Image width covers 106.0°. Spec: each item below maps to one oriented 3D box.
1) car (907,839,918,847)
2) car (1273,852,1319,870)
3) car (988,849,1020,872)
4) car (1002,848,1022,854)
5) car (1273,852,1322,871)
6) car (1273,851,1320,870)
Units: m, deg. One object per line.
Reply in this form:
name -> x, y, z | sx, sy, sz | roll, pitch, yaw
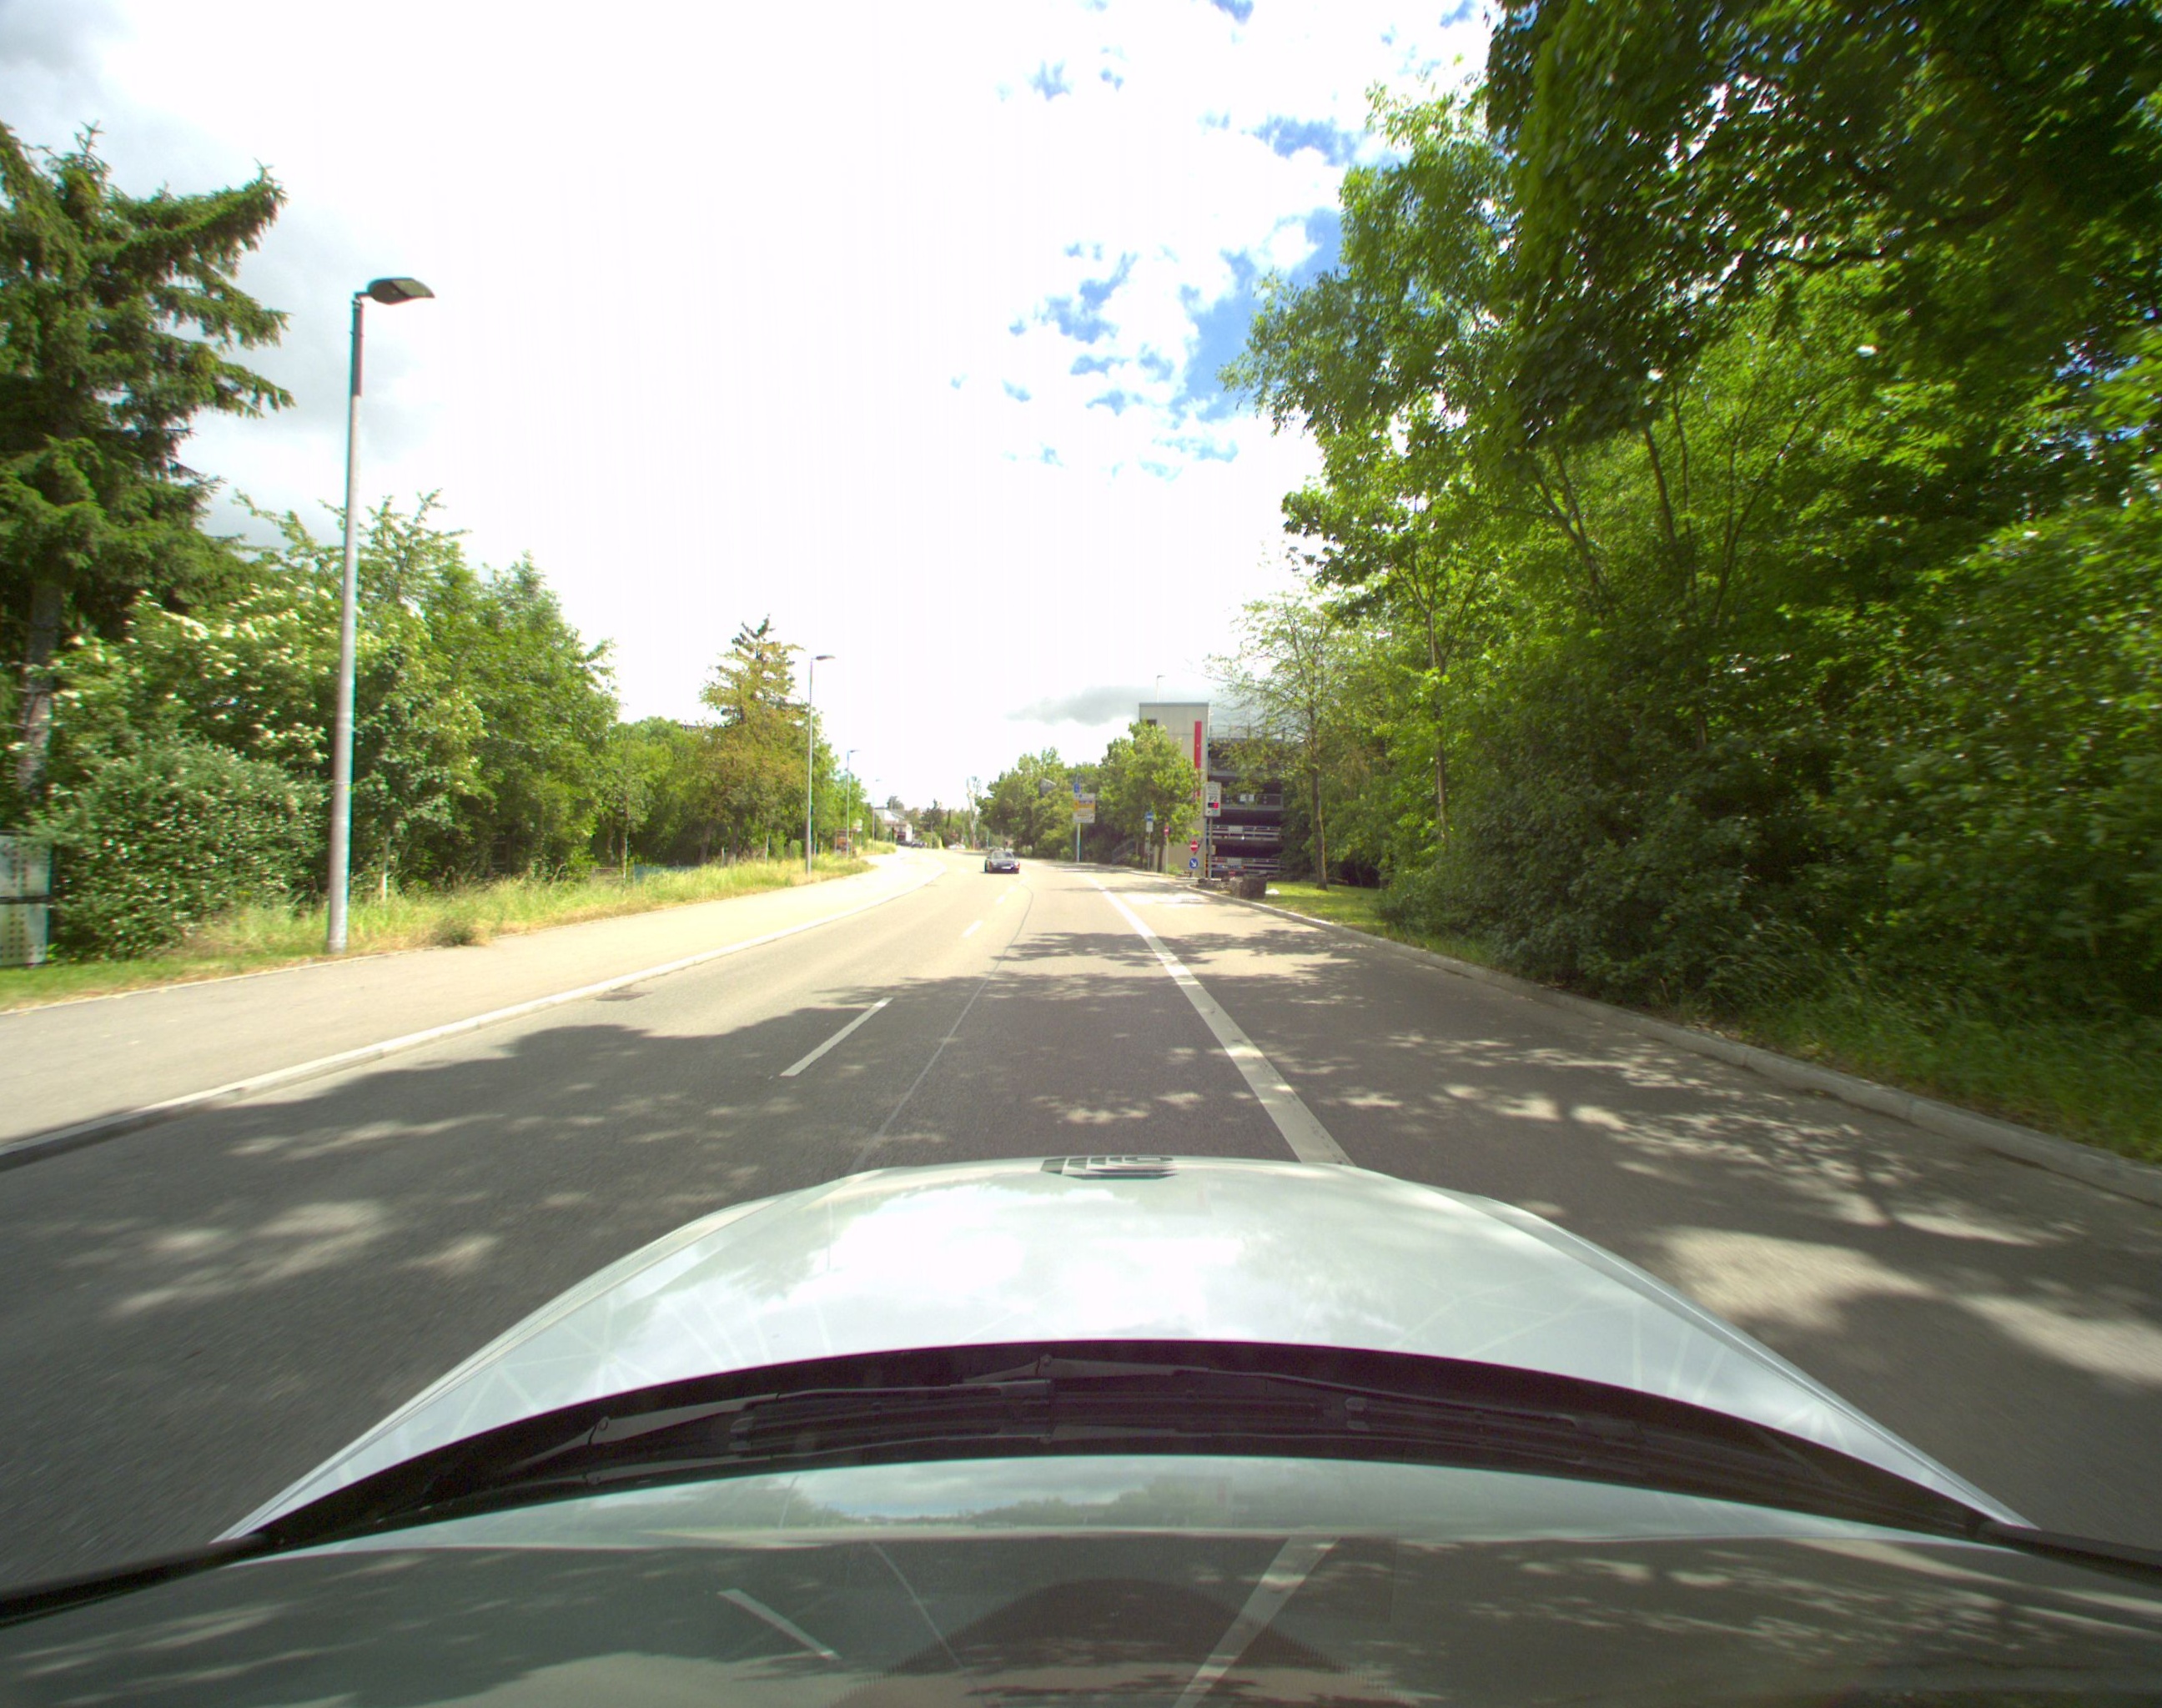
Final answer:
car -> -31.717, -2.083, 153.288 | 1.825, 1.557, 4.608 | 0, 1, -14
car -> 21.323, 0.640, 80.811 | 4.282, 1.630, 2.008 | 2, 0, 14
car -> -4.492, 0.339, 48.034 | 1.730, 1.301, 4.000 | 0, 0, -3
car -> -16.168, -0.668, 190.483 | 4.584, 1.291, 1.908 | 1, 0, -4
car -> 19.726, 0.688, 74.288 | 4.282, 1.630, 2.008 | 2, 0, 14
car -> 20.804, 0.628, 78.801 | 4.282, 1.630, 2.008 | 2, 0, 14
